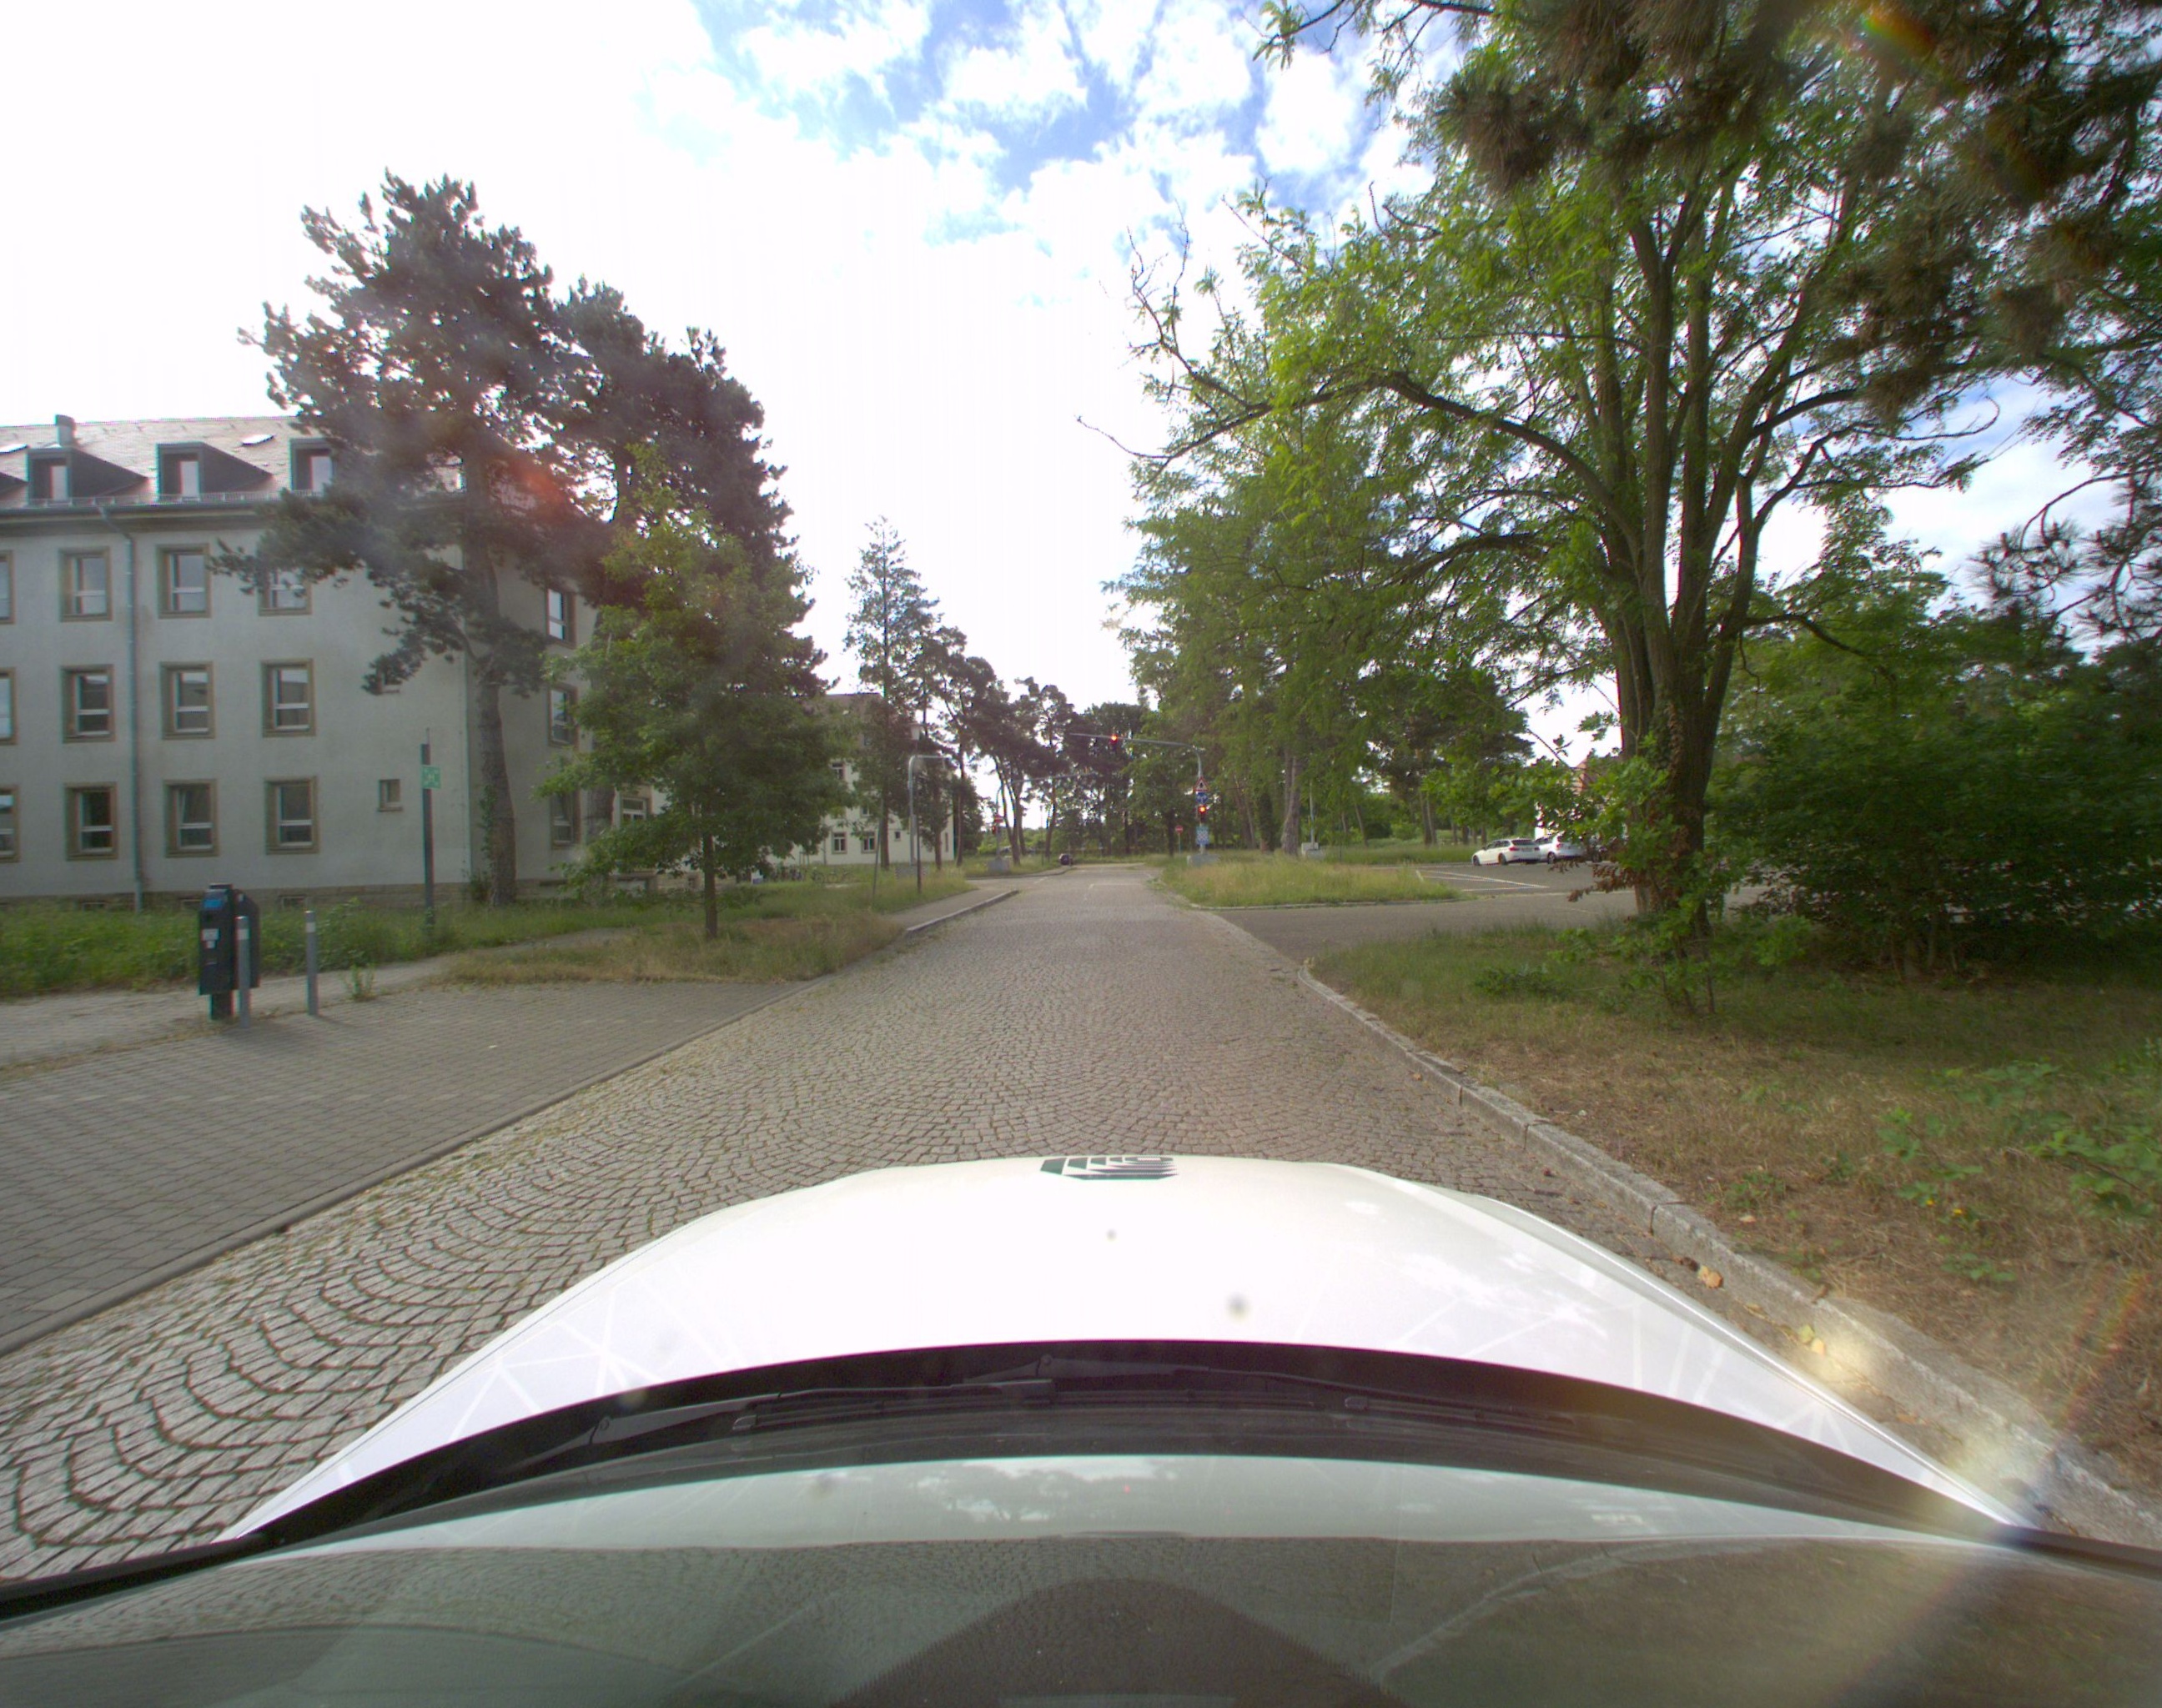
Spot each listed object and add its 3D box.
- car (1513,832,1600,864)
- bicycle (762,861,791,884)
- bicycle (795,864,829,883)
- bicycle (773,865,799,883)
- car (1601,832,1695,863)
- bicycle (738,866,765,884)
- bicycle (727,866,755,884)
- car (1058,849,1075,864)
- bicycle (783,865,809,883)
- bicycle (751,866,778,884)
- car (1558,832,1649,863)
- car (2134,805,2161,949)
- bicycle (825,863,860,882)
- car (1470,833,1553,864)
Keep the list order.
[{"bbox_3d":[25.498,-0.278,43.840,1.988,1.481,4.422,-2,-1,-2],"label":"car"},{"bbox_3d":[-19.589,1.164,52.422,0.733,1.385,2.713,-2,0,2],"label":"bicycle"},{"bbox_3d":[-16.774,1.212,50.828,1.848,1.076,0.739,-2,0,3],"label":"bicycle"},{"bbox_3d":[-18.855,1.290,52.049,0.733,1.076,2.274,-2,0,2],"label":"bicycle"},{"bbox_3d":[30.845,-0.333,44.484,1.988,1.523,4.422,-1,-1,-2],"label":"car"},{"bbox_3d":[-21.042,1.315,52.072,0.733,1.076,2.274,-2,0,2],"label":"bicycle"},{"bbox_3d":[-21.770,1.335,52.161,0.733,1.076,2.274,-2,0,2],"label":"bicycle"},{"bbox_3d":[-1.887,0.330,107.888,2.048,1.846,4.001,-2,0,1],"label":"car"},{"bbox_3d":[-18.213,1.264,52.114,0.733,1.076,2.274,-2,0,2],"label":"bicycle"},{"bbox_3d":[-20.380,1.320,52.550,0.733,1.076,2.274,-2,0,2],"label":"bicycle"},{"bbox_3d":[28.168,-0.296,44.070,1.988,1.481,4.422,-2,-1,-2],"label":"car"},{"bbox_3d":[11.499,0.247,6.240,1.640,1.427,4.074,1,0,1],"label":"car"},{"bbox_3d":[-14.890,1.164,50.822,1.848,1.076,0.832,-2,0,3],"label":"bicycle"},{"bbox_3d":[22.983,-0.261,43.720,1.988,1.481,4.422,-2,-1,-2],"label":"car"}]
